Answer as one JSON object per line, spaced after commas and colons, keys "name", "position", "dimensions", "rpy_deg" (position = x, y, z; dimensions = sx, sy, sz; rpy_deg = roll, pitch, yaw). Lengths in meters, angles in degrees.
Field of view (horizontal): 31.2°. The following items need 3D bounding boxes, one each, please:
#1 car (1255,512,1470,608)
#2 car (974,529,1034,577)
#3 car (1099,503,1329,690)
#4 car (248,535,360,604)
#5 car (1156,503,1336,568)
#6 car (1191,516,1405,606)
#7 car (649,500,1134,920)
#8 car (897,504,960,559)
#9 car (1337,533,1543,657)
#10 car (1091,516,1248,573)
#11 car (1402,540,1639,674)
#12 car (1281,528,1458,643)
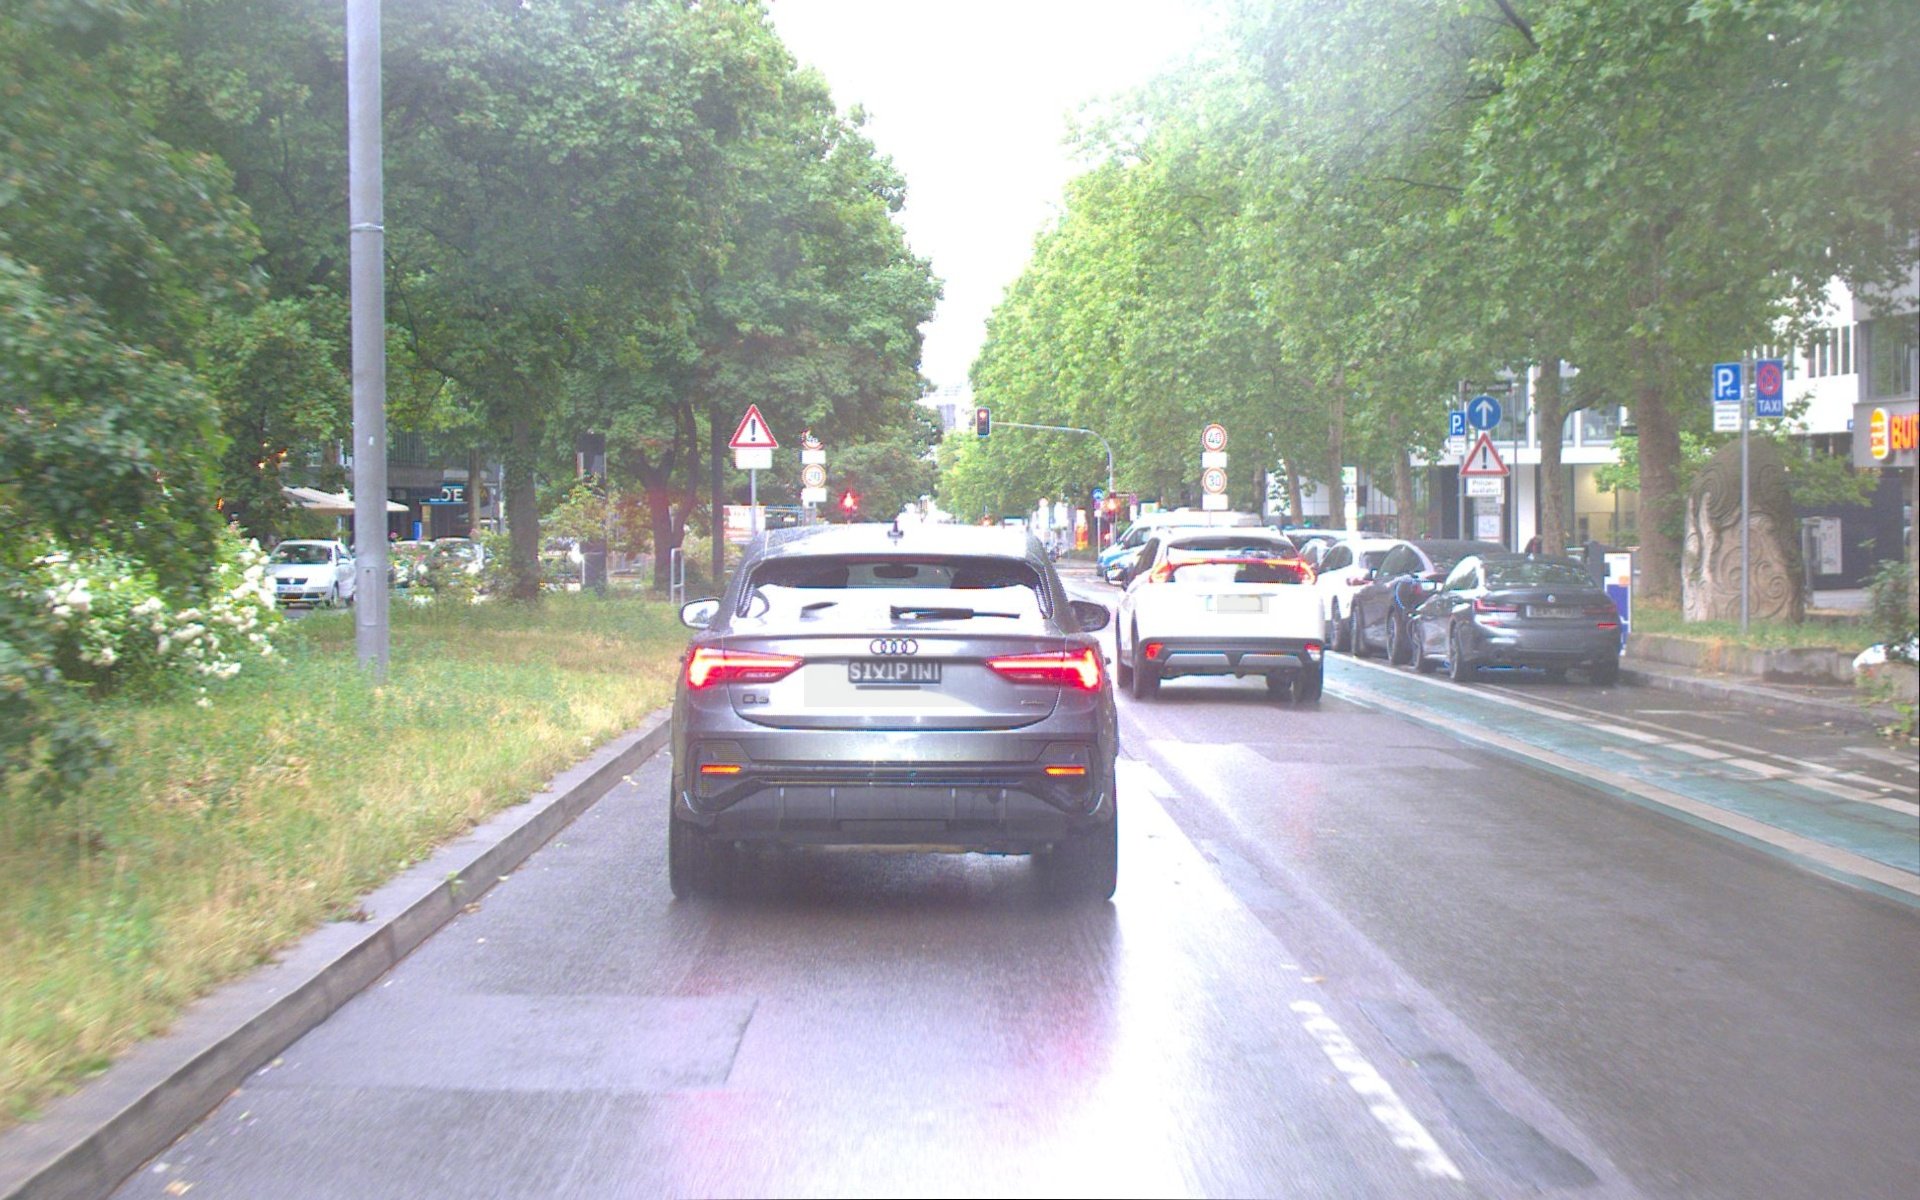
{"name": "car", "position": [10.033, -1.001, 85.797], "dimensions": [4.889, 2.246, 1.997], "rpy_deg": [2, 0, 28]}
{"name": "car", "position": [1.546, -1.656, 122.241], "dimensions": [1.993, 1.645, 4.000], "rpy_deg": [1, 1, -1]}
{"name": "car", "position": [2.438, -0.053, 33.884], "dimensions": [1.878, 1.691, 4.000], "rpy_deg": [1, 1, -1]}
{"name": "car", "position": [-13.918, -0.653, 73.126], "dimensions": [1.649, 1.430, 3.812], "rpy_deg": [0, 1, 0]}
{"name": "car", "position": [8.119, -1.835, 97.615], "dimensions": [4.645, 1.700, 1.997], "rpy_deg": [2, 1, 27]}
{"name": "car", "position": [7.908, -0.923, 80.638], "dimensions": [4.602, 2.007, 1.964], "rpy_deg": [2, 1, 38]}
{"name": "car", "position": [-0.324, 0.387, 15.203], "dimensions": [1.849, 1.596, 4.000], "rpy_deg": [1, 1, -2]}
{"name": "car", "position": [-1.067, -2.256, 113.822], "dimensions": [1.993, 1.720, 4.000], "rpy_deg": [1, 1, -1]}
{"name": "car", "position": [6.298, -0.082, 45.563], "dimensions": [1.867, 1.515, 4.559], "rpy_deg": [1, 1, -3]}
{"name": "car", "position": [6.798, -1.805, 111.768], "dimensions": [4.645, 1.700, 1.997], "rpy_deg": [2, 1, 27]}
{"name": "car", "position": [6.392, 0.042, 39.677], "dimensions": [1.873, 1.416, 4.611], "rpy_deg": [1, 1, -1]}
{"name": "car", "position": [5.937, -0.227, 50.256], "dimensions": [1.727, 1.566, 4.074], "rpy_deg": [1, 1, -5]}
